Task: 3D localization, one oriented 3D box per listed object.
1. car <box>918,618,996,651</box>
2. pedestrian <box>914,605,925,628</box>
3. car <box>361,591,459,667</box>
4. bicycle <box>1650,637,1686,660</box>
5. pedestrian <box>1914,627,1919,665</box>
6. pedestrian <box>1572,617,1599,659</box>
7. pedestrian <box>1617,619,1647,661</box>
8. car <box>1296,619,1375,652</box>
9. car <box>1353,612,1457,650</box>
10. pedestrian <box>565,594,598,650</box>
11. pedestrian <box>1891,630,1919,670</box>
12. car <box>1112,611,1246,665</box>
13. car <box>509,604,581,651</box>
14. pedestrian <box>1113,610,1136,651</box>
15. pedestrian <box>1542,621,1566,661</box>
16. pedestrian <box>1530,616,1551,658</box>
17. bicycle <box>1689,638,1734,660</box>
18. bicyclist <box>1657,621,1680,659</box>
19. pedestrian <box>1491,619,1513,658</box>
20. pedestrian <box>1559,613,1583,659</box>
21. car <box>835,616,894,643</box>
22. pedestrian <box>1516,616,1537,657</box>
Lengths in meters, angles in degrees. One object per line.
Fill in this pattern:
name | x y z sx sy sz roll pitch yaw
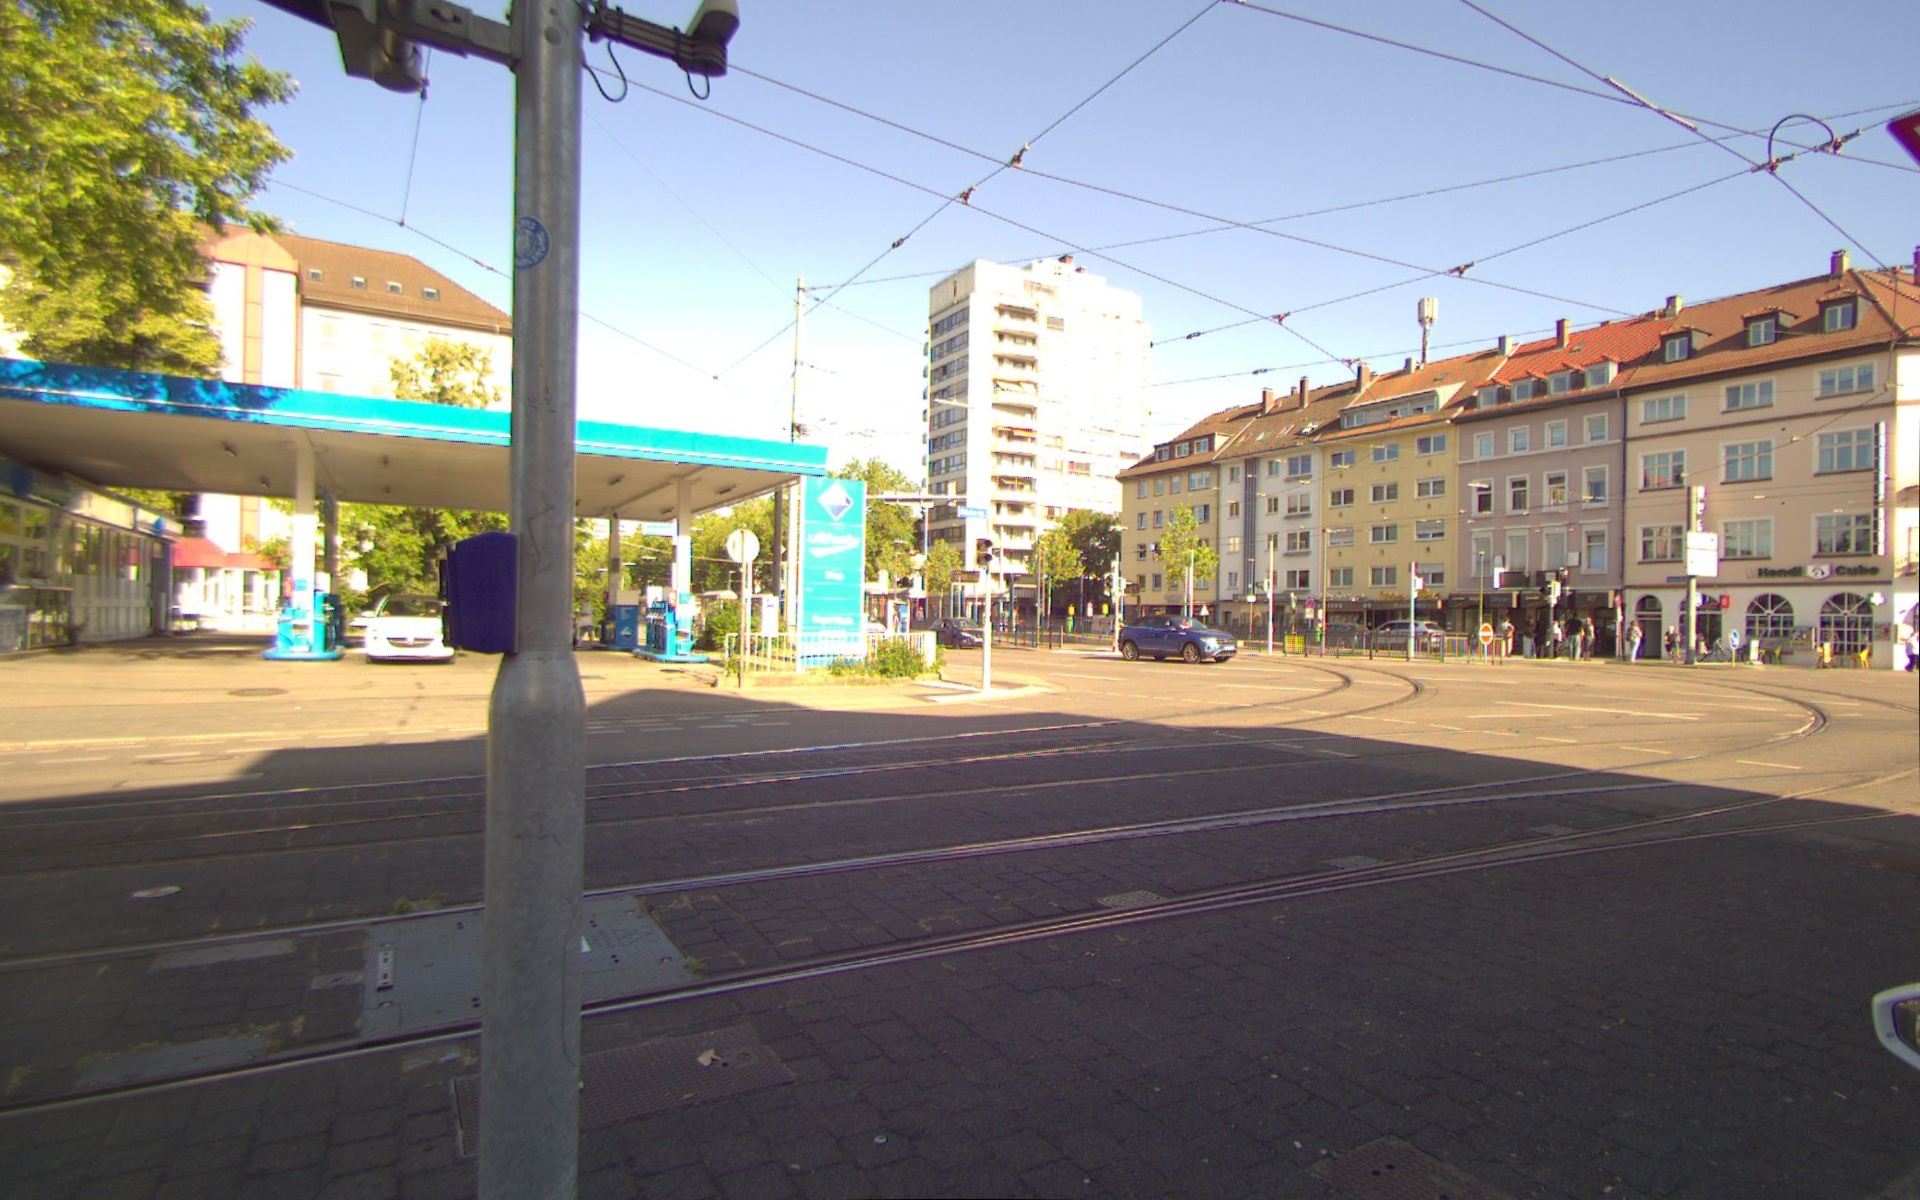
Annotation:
car | -0.183 1.557 46.395 1.811 1.422 3.965 1 -1 -32
pedestrian | -3.725 1.520 91.981 0.729 2.127 0.880 2 0 -21
car | -12.222 0.592 22.354 1.723 1.455 3.905 2 1 -29
bicycle | 33.932 2.308 48.128 1.731 1.044 0.619 2 0 -25
pedestrian | 42.701 2.050 44.418 0.578 1.698 0.497 2 0 26
pedestrian | 25.591 1.541 41.079 0.831 1.670 0.579 2 0 -30
pedestrian | 26.491 1.581 39.580 0.805 1.615 0.665 2 0 -30
car | 22.113 2.068 59.274 1.797 1.797 4.208 2 0 -30
car | 22.937 1.581 51.933 1.818 1.757 4.643 2 0 -35
pedestrian | -11.885 0.703 31.523 0.838 1.724 0.644 2 -3 -31
pedestrian | 40.358 2.114 42.847 0.778 1.664 0.569 2 0 -6
car | 7.163 1.202 33.172 1.814 1.596 4.154 1 -1 -37
car | -13.524 0.860 32.645 1.659 1.372 3.559 2 0 -31
pedestrian | 6.719 1.235 40.932 0.751 1.631 0.612 2 0 -6
pedestrian | 25.051 1.730 42.365 0.719 1.670 0.570 2 0 -30
pedestrian | 23.773 1.517 41.133 0.492 1.670 0.520 2 0 -30
bicycle | 37.831 2.471 50.590 0.603 0.996 1.693 2 0 -29
bicyclist | 33.948 1.920 48.127 0.606 1.814 0.619 2 0 -25
pedestrian | 23.836 1.694 44.148 0.609 1.670 0.581 2 0 -30
pedestrian | 24.674 1.445 40.558 0.669 1.847 0.524 2 0 -30
car | -5.413 1.632 56.541 1.876 1.473 3.976 1 -1 -30
pedestrian | 23.512 1.512 41.695 0.492 1.670 0.520 2 0 -30
